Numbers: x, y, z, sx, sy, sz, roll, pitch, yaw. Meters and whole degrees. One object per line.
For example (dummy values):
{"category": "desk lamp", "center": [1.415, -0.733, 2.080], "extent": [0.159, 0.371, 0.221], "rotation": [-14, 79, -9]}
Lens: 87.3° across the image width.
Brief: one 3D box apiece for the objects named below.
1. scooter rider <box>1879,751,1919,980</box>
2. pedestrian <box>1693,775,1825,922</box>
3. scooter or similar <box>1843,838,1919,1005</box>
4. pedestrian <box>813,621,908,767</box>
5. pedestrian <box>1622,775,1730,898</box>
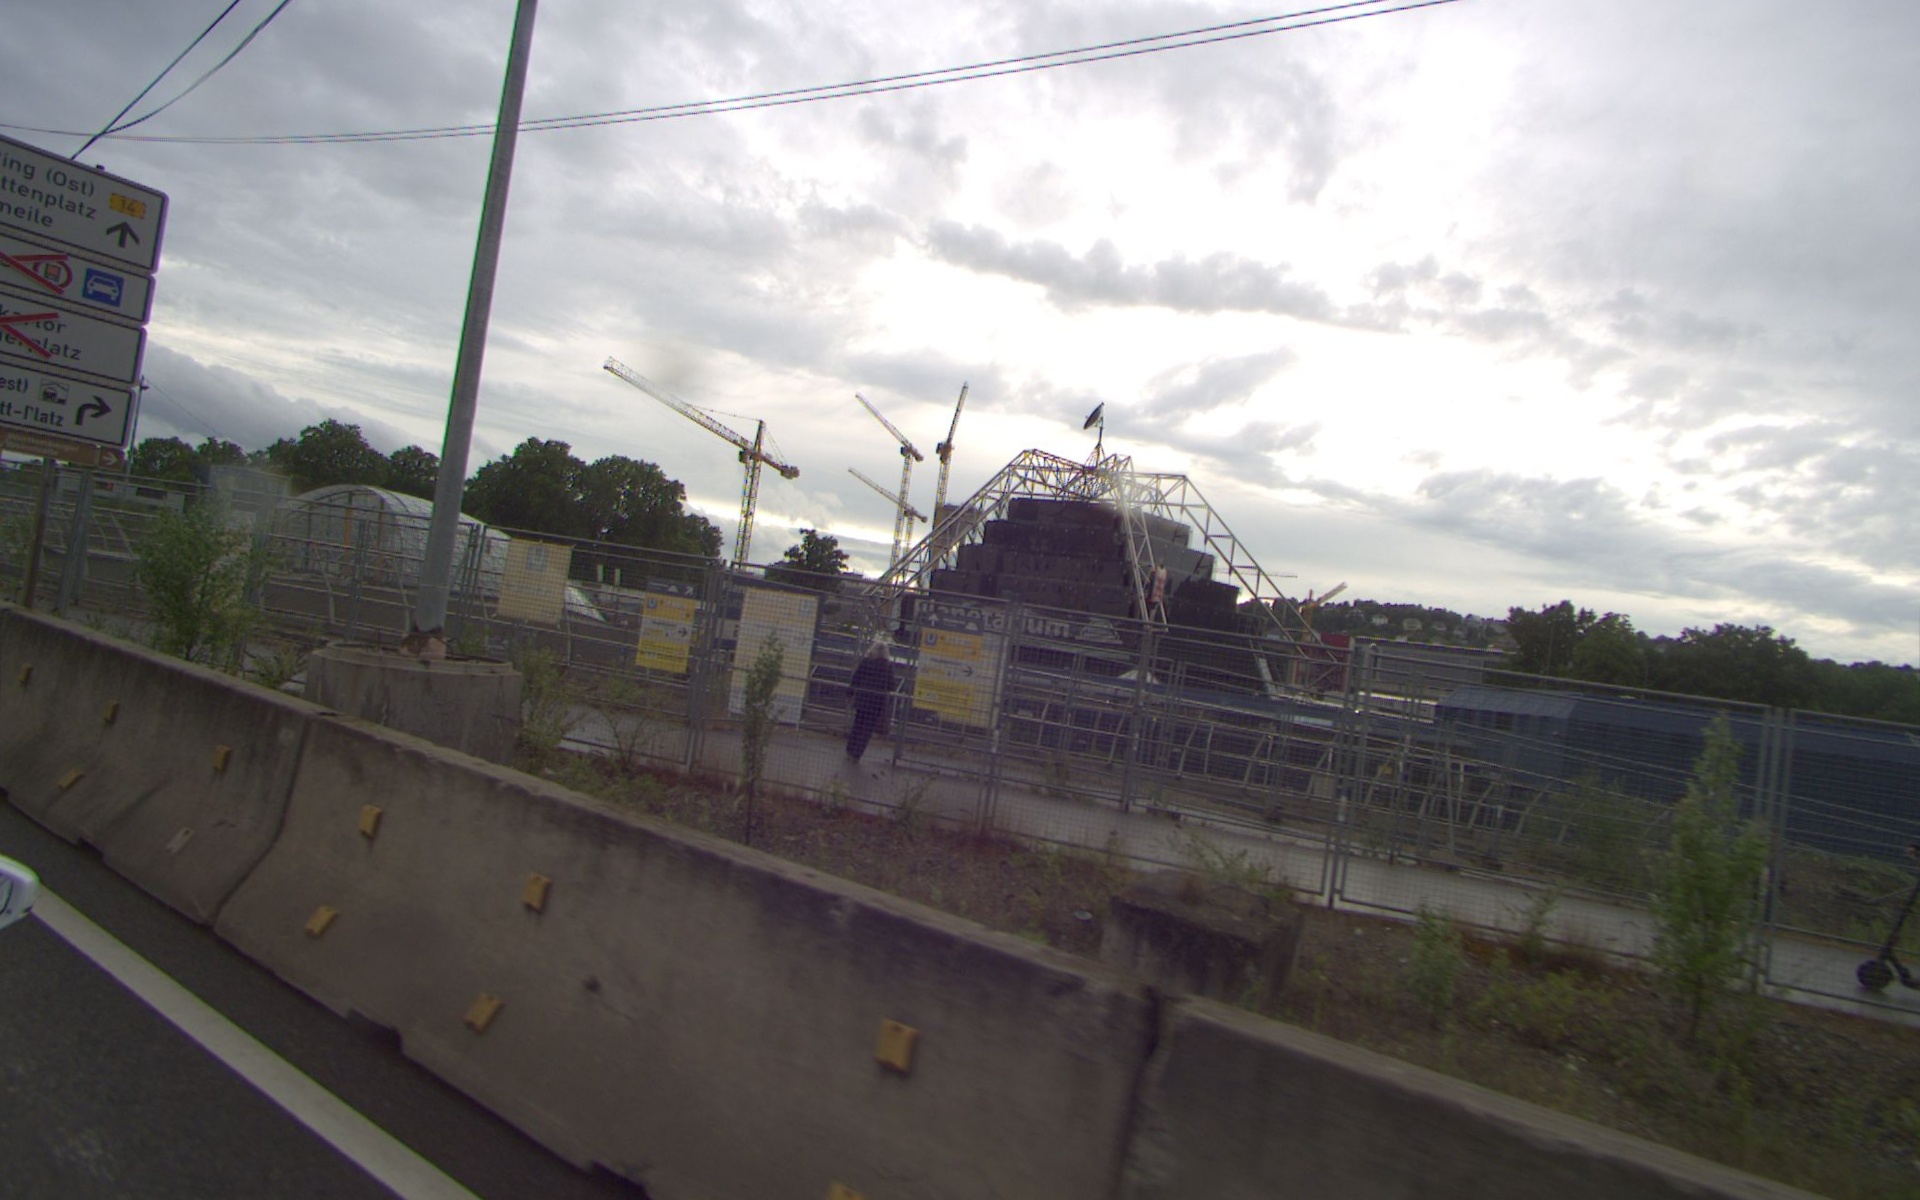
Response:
{"category": "scooter rider", "center": [8.020, 2.167, 8.065], "extent": [0.687, 1.776, 0.522], "rotation": [7, -1, 28]}
{"category": "pedestrian", "center": [10.370, 3.203, 13.077], "extent": [1.004, 1.651, 0.692], "rotation": [7, -1, 0]}
{"category": "scooter or similar", "center": [7.936, 2.650, 8.070], "extent": [1.077, 1.193, 0.492], "rotation": [7, -1, 28]}
{"category": "pedestrian", "center": [-1.240, 1.177, 12.808], "extent": [0.882, 1.677, 1.024], "rotation": [7, -2, 2]}
{"category": "pedestrian", "center": [10.045, 3.303, 14.140], "extent": [0.876, 1.489, 0.692], "rotation": [7, -1, 0]}
